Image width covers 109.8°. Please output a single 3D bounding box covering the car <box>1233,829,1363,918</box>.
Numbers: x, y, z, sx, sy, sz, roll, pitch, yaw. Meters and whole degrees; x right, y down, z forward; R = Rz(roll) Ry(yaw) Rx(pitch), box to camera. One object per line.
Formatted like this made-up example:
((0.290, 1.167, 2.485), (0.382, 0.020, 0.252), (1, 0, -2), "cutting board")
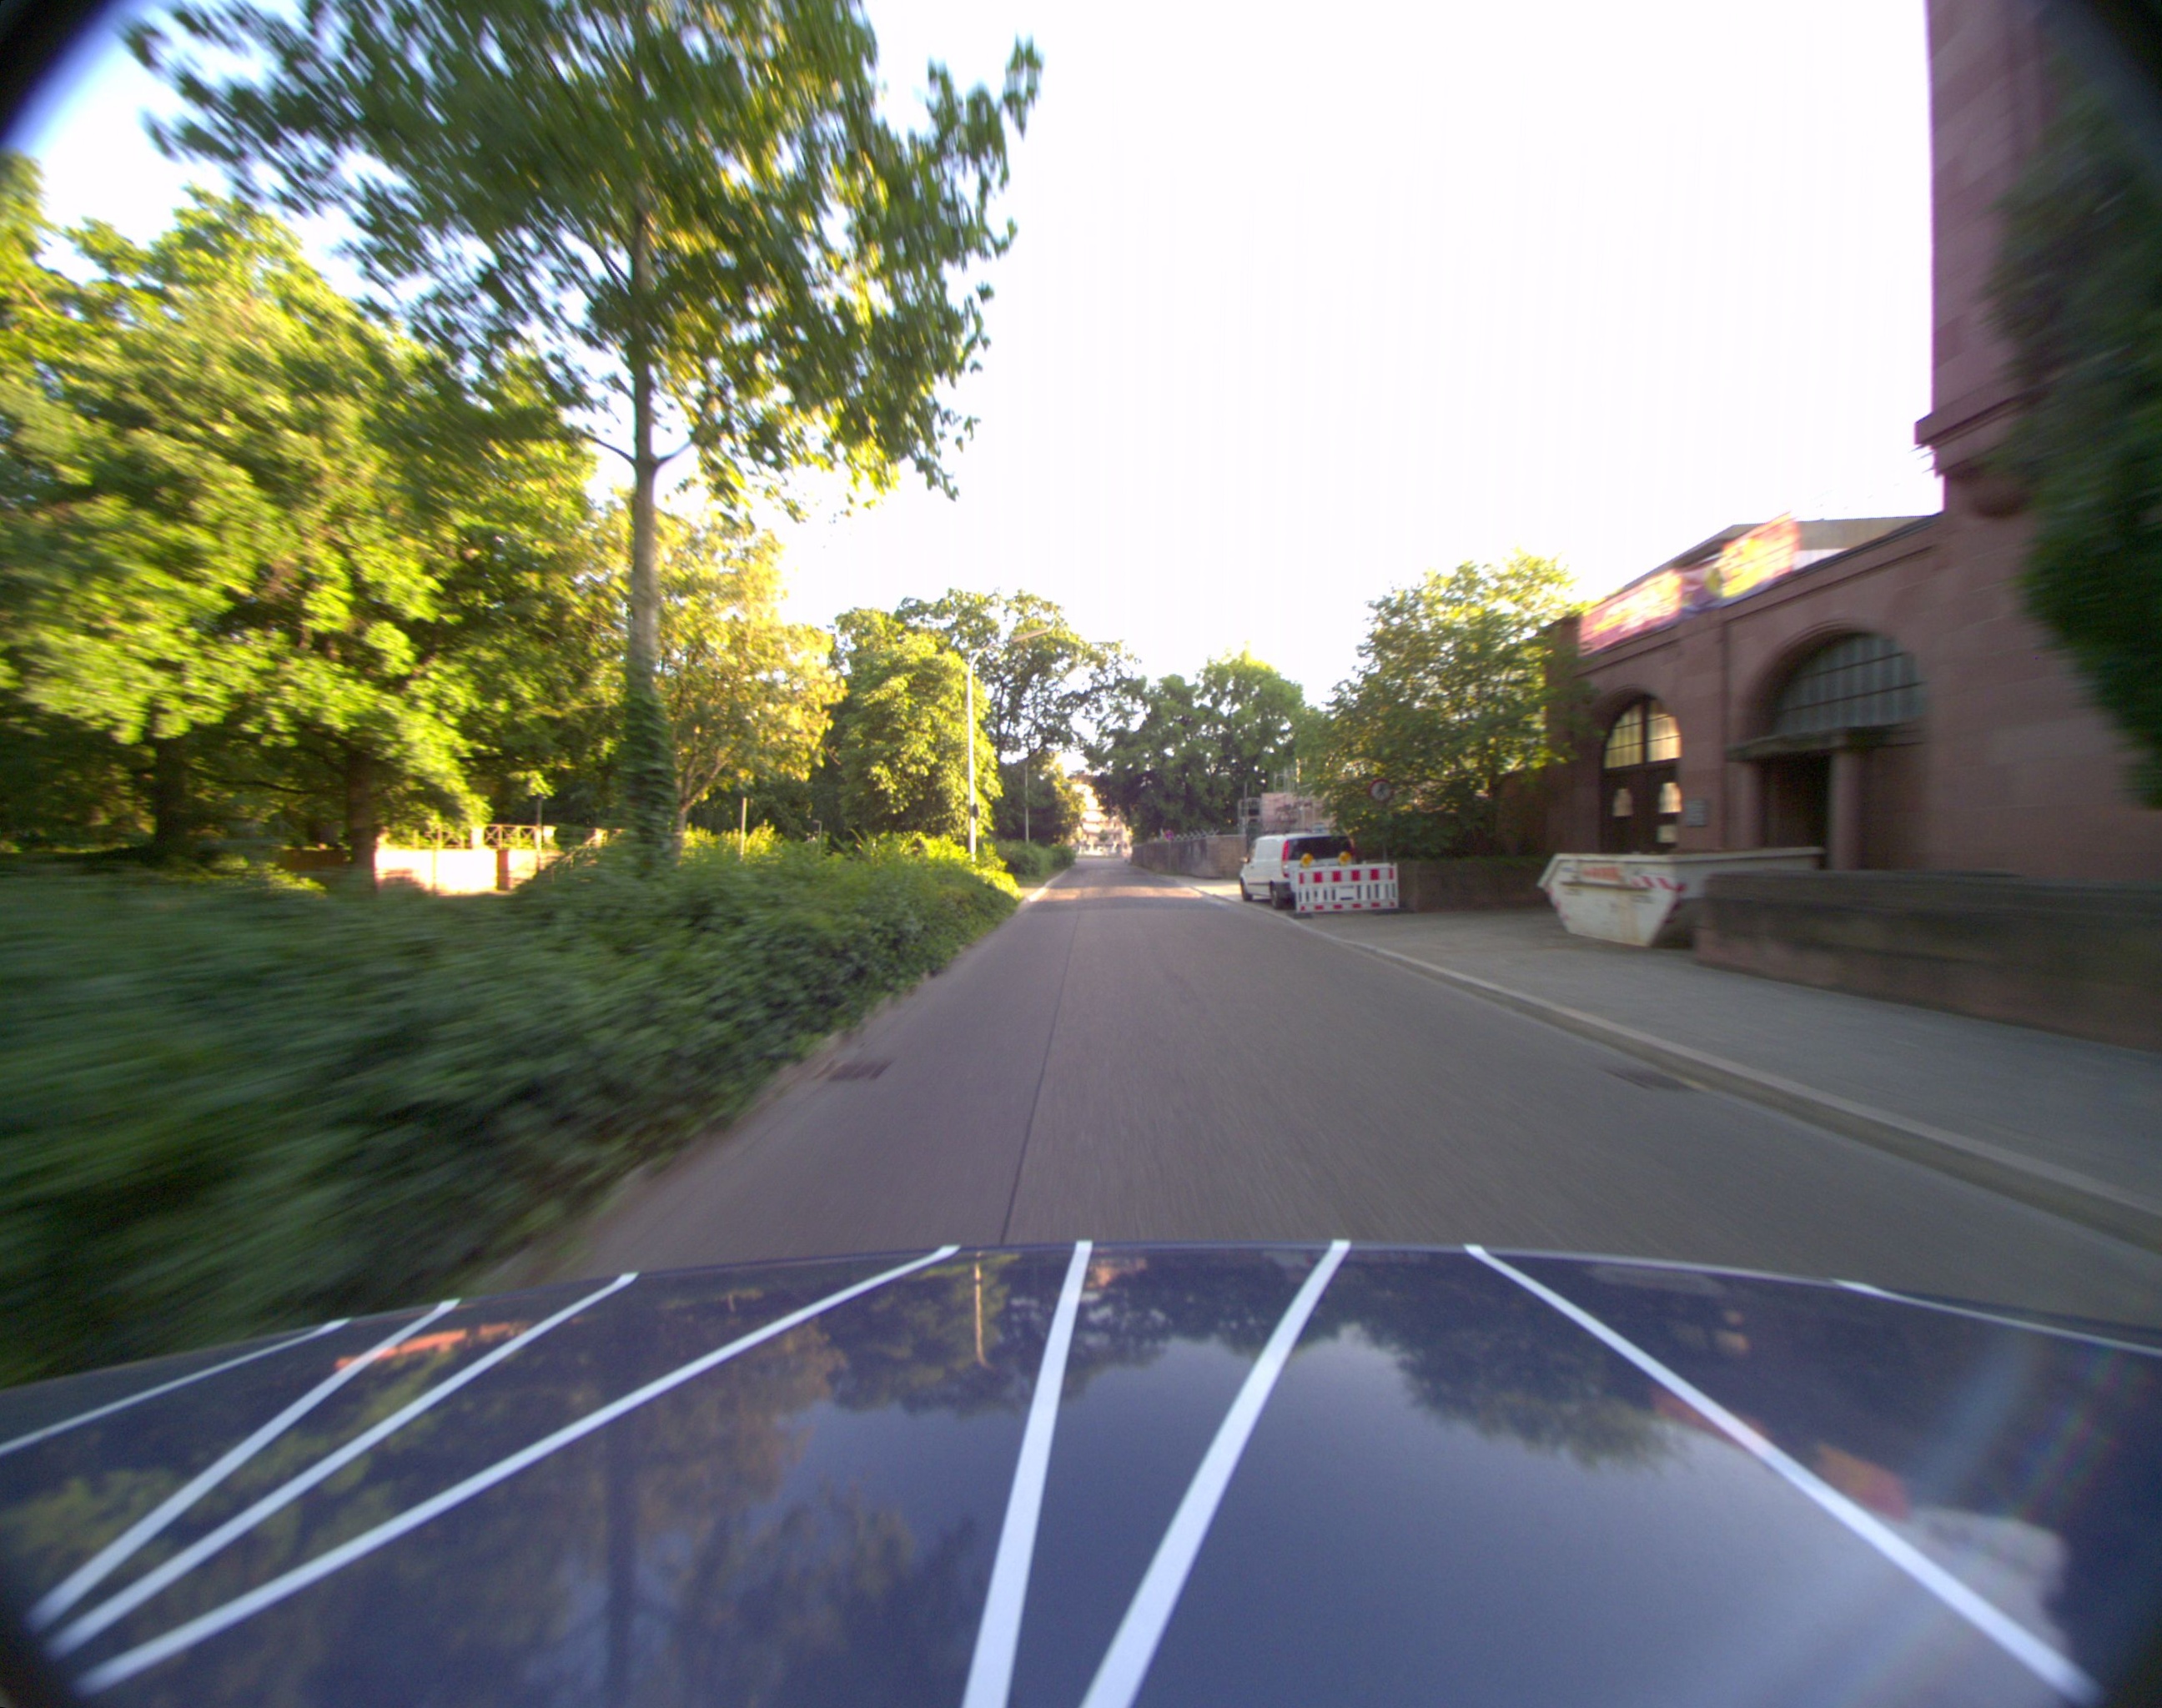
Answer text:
((5.626, 0.421, 20.475), (1.887, 2.002, 5.225), (-3, 1, -1), "car")
